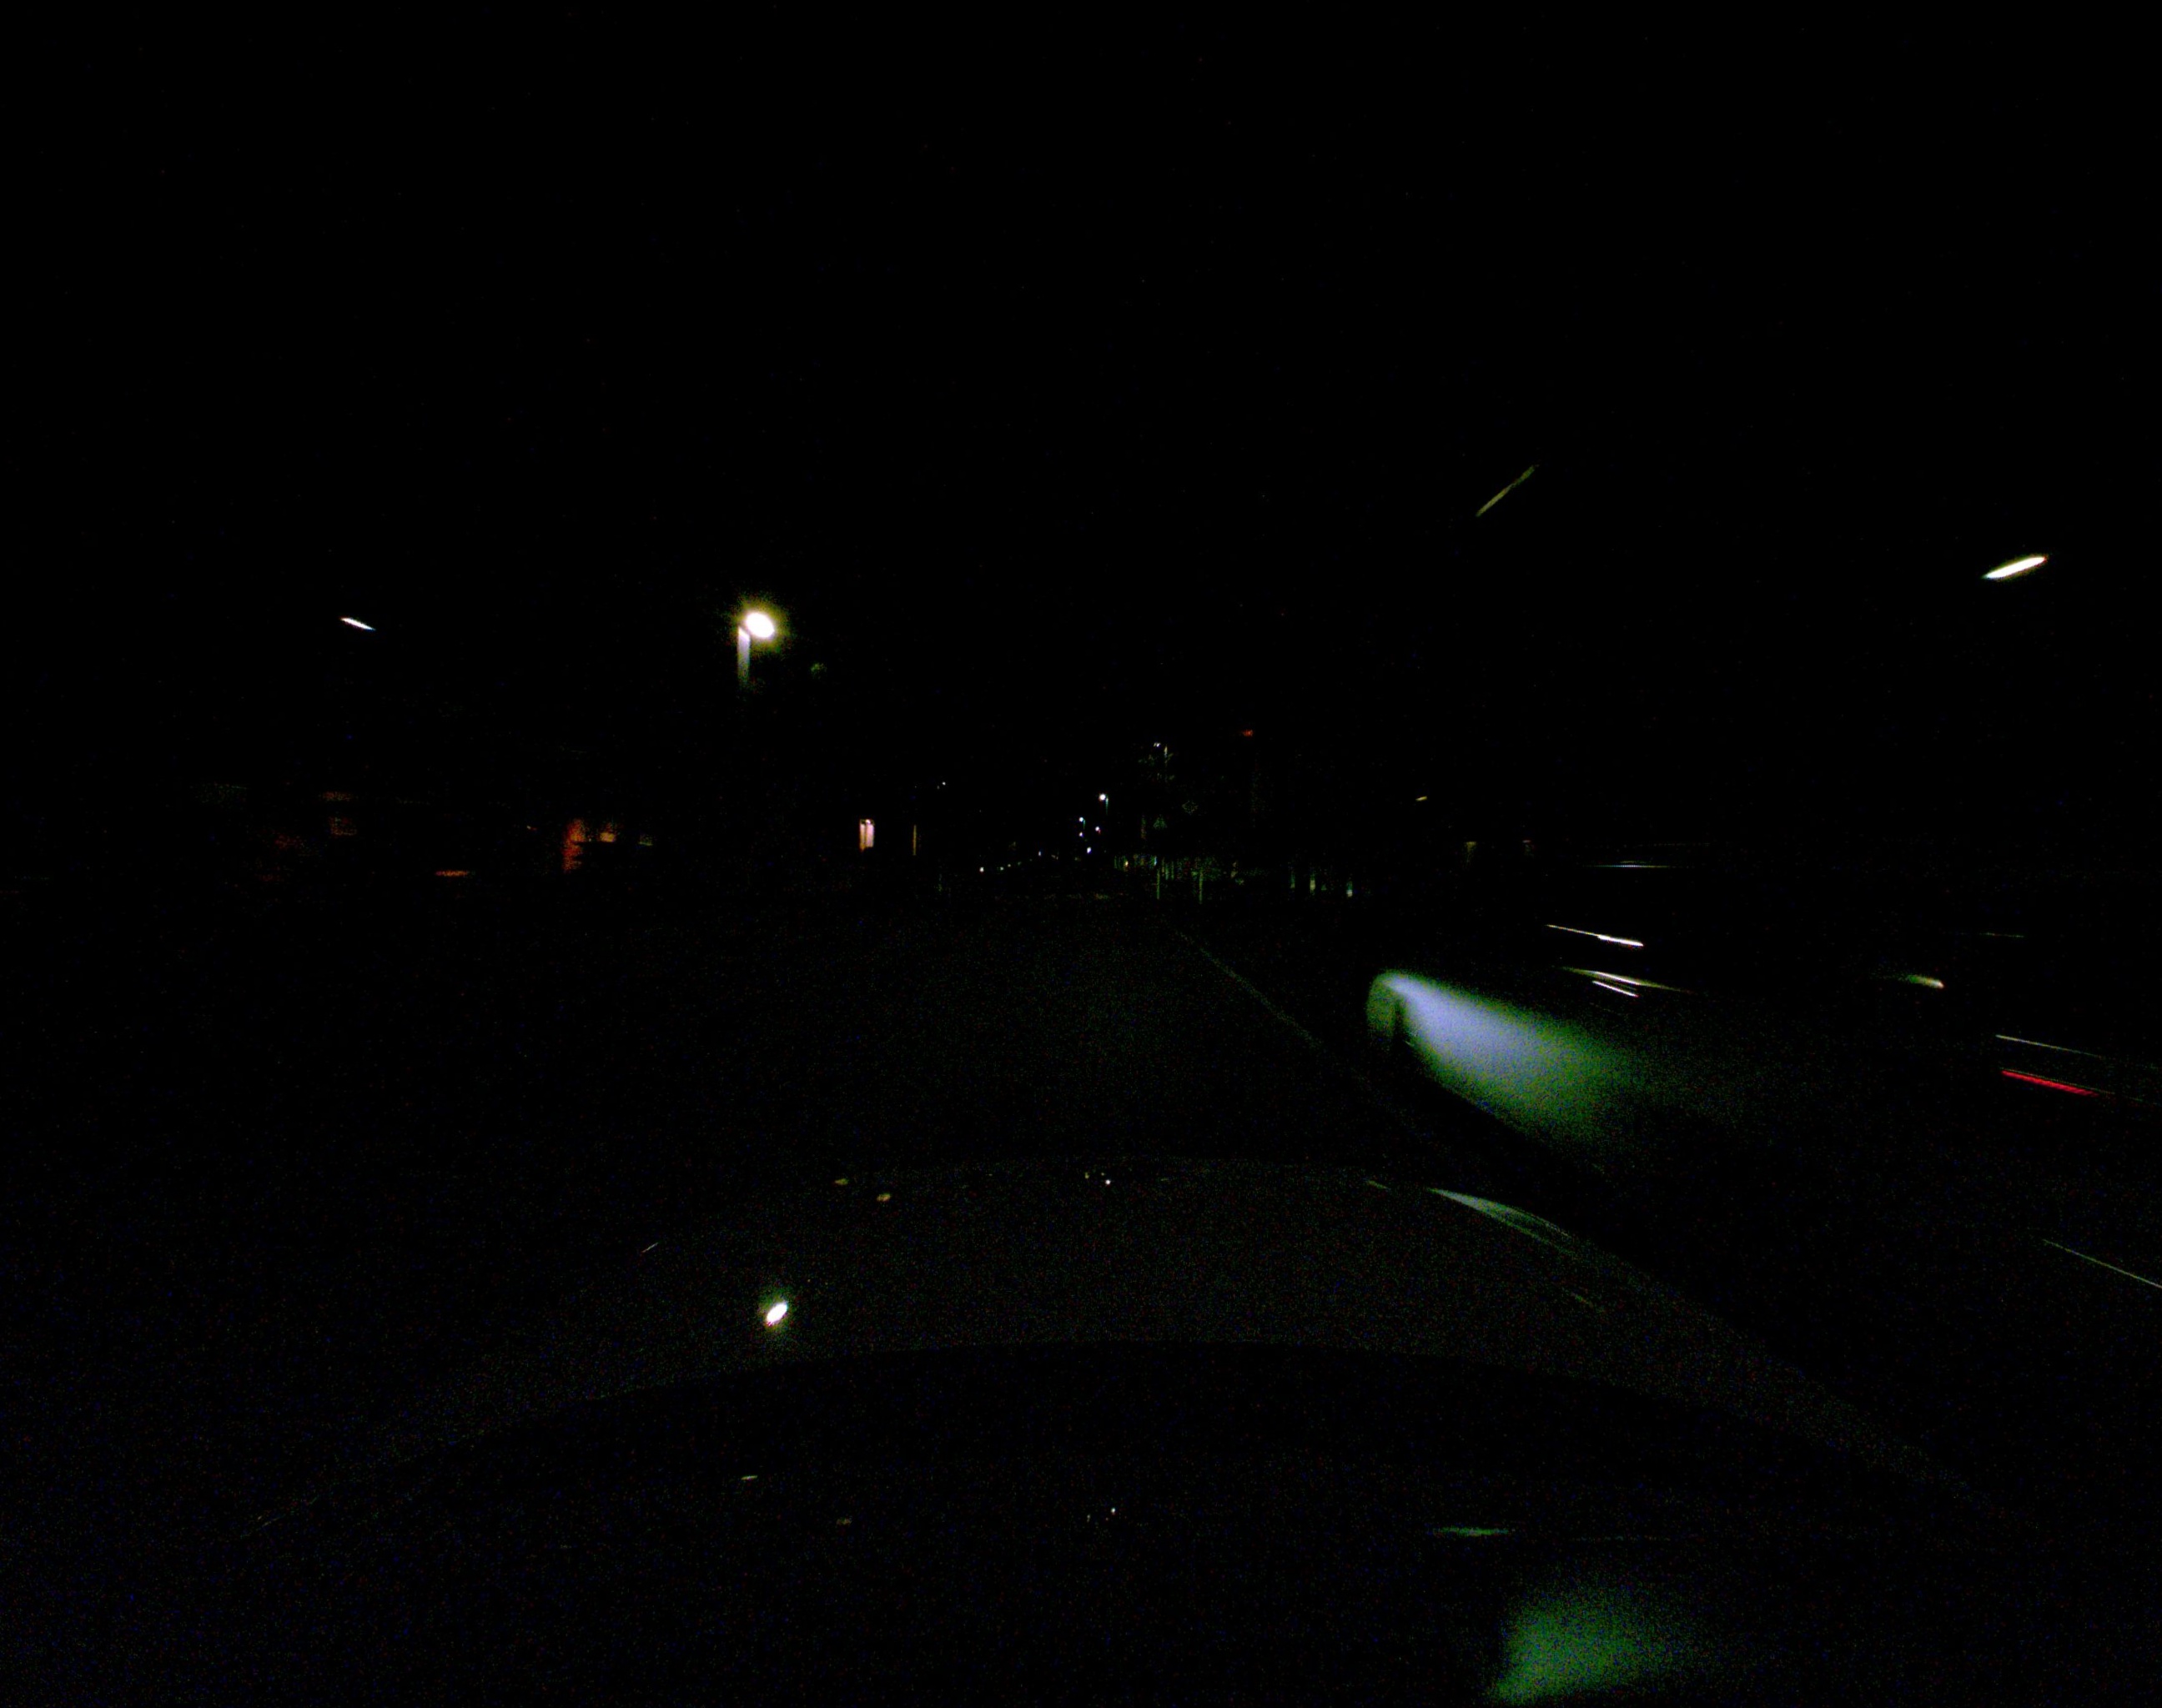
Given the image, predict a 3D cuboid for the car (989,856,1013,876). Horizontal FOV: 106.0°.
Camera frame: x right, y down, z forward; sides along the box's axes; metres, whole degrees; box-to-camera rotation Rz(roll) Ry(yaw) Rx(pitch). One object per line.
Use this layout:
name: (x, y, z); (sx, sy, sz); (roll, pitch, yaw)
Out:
car: (-6.547, 0.974, 67.292); (1.683, 1.510, 4.275); (1, 0, -2)

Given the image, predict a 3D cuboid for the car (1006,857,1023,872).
car: (-7.057, 1.098, 86.434); (1.668, 1.522, 2.974); (3, -1, -4)

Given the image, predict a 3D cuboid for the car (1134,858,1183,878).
car: (6.091, 1.098, 64.532); (3.699, 1.473, 1.730); (1, -1, 0)

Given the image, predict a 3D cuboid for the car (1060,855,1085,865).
car: (-1.880, 1.350, 173.017); (5.173, 2.014, 2.098); (-1, 0, -5)

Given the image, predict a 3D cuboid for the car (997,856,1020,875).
car: (-6.446, 1.002, 72.440); (1.762, 1.519, 4.274); (2, 0, -3)

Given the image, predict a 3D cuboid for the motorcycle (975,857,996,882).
motorcycle: (-5.641, 0.884, 48.082); (0.742, 1.452, 2.199); (0, -1, 6)

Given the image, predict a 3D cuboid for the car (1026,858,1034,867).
car: (-12.229, 2.075, 196.274); (1.821, 1.987, 4.458); (3, -3, -4)

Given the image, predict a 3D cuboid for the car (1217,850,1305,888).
car: (8.177, 0.658, 37.175); (3.498, 1.525, 1.818); (-3, -1, -4)

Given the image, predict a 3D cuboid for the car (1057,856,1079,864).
car: (-3.104, 1.516, 197.730); (5.155, 1.887, 2.105); (-1, 0, 6)

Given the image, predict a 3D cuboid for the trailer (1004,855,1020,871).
trailer: (-7.573, 1.013, 89.655); (1.443, 1.688, 3.425); (3, -1, 0)

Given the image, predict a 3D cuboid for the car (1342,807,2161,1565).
car: (2.793, 0.697, 3.825); (1.737, 1.569, 4.206); (0, 0, -1)
